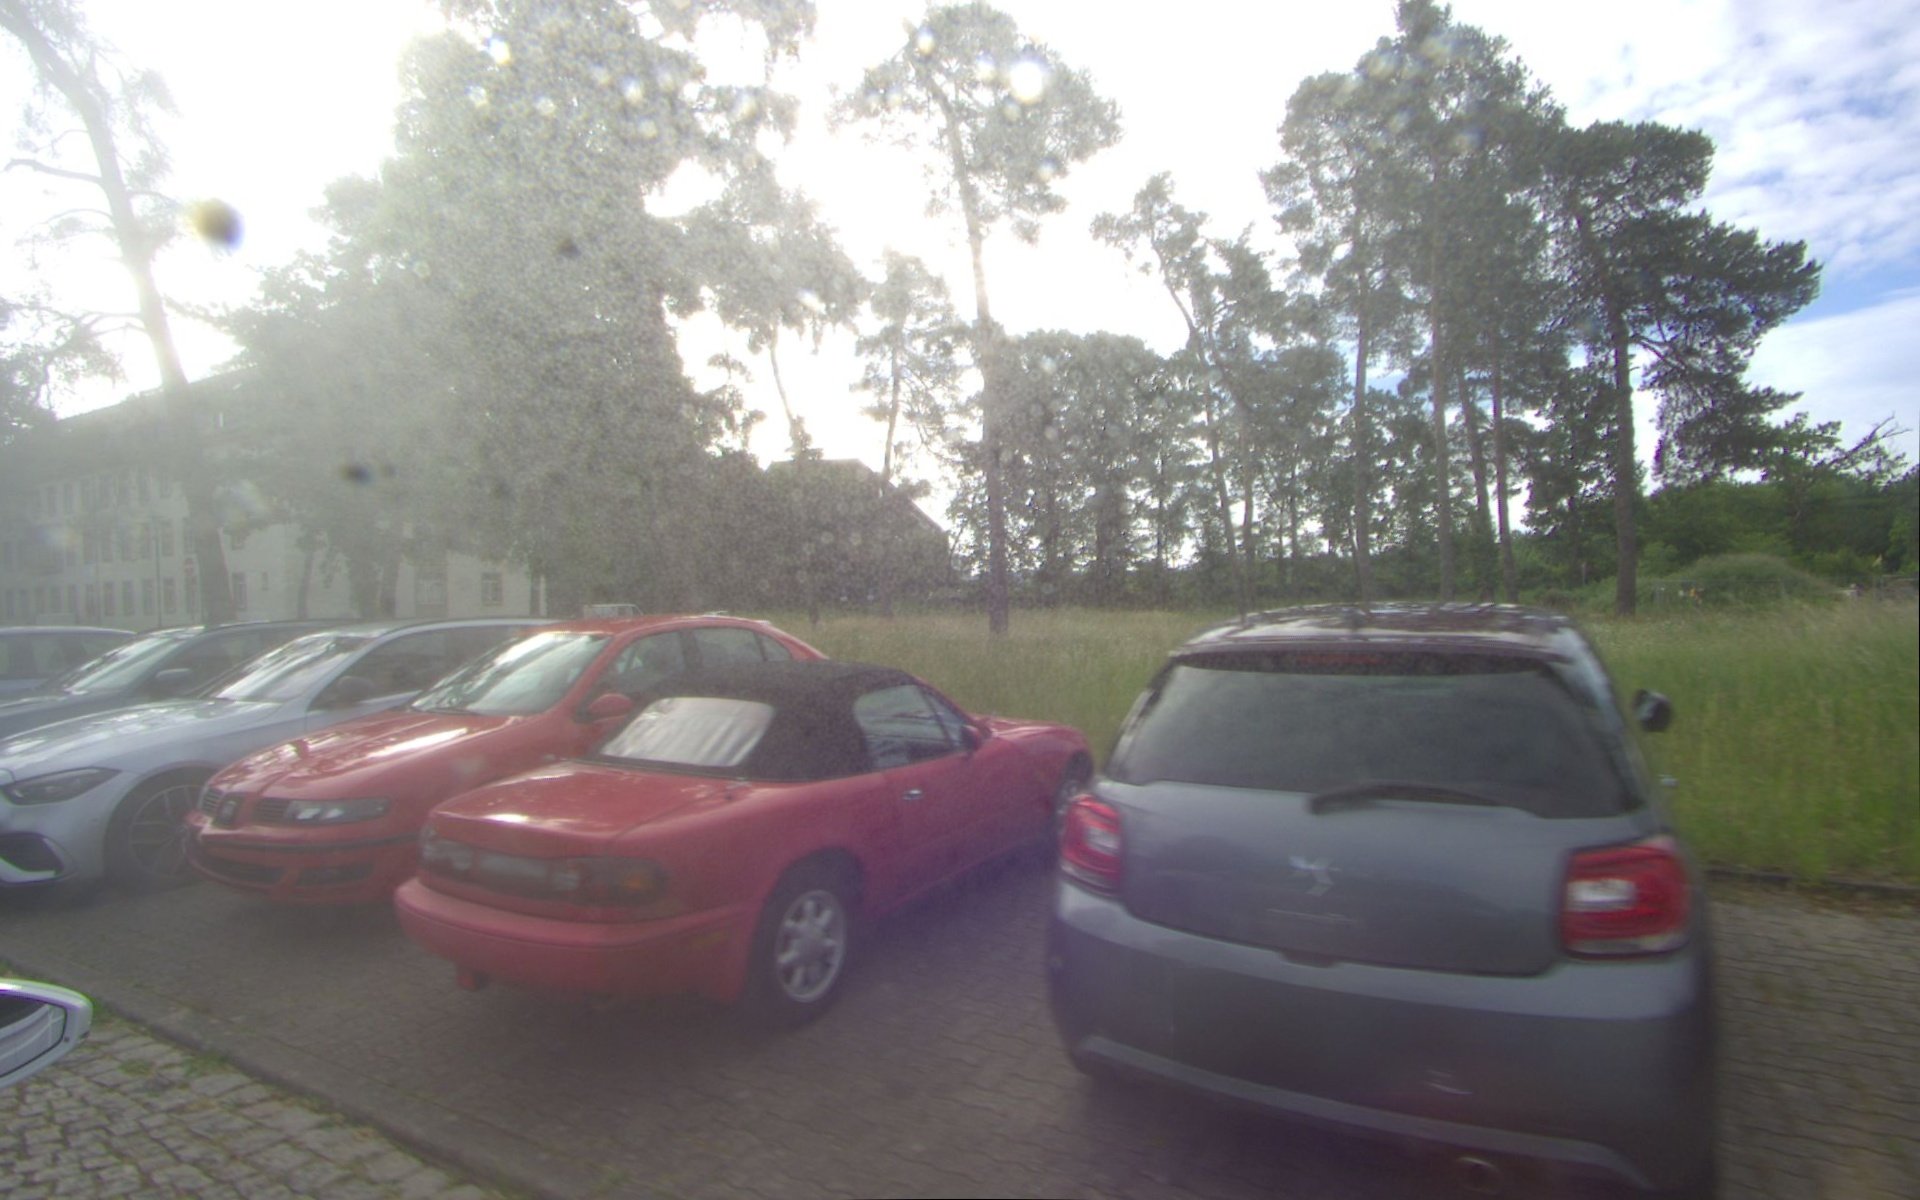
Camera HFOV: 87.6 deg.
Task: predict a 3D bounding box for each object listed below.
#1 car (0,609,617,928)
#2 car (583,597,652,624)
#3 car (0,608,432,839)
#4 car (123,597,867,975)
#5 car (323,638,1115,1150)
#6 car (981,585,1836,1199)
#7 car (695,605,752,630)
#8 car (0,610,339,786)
[{"bbox_3d":[-4.646,0.868,7.225,1.726,1.456,4.185,-1,1,23],"label":"car"},{"bbox_3d":[-27.908,0.874,81.778,2.075,2.045,5.292,-1,-1,31],"label":"car"},{"bbox_3d":[-6.979,0.896,8.636,1.680,1.499,4.232,-1,1,20],"label":"car"},{"bbox_3d":[-2.441,0.790,6.389,1.659,1.496,4.099,-1,1,29],"label":"car"},{"bbox_3d":[-0.707,0.906,4.779,1.605,1.239,3.579,-1,1,31],"label":"car"},{"bbox_3d":[1.676,0.737,3.733,1.717,1.507,3.499,-1,1,30],"label":"car"},{"bbox_3d":[-18.229,1.363,77.382,1.873,1.827,4.125,-1,-1,32],"label":"car"},{"bbox_3d":[-8.937,0.919,10.272,1.607,1.483,4.133,-1,1,25],"label":"car"}]
